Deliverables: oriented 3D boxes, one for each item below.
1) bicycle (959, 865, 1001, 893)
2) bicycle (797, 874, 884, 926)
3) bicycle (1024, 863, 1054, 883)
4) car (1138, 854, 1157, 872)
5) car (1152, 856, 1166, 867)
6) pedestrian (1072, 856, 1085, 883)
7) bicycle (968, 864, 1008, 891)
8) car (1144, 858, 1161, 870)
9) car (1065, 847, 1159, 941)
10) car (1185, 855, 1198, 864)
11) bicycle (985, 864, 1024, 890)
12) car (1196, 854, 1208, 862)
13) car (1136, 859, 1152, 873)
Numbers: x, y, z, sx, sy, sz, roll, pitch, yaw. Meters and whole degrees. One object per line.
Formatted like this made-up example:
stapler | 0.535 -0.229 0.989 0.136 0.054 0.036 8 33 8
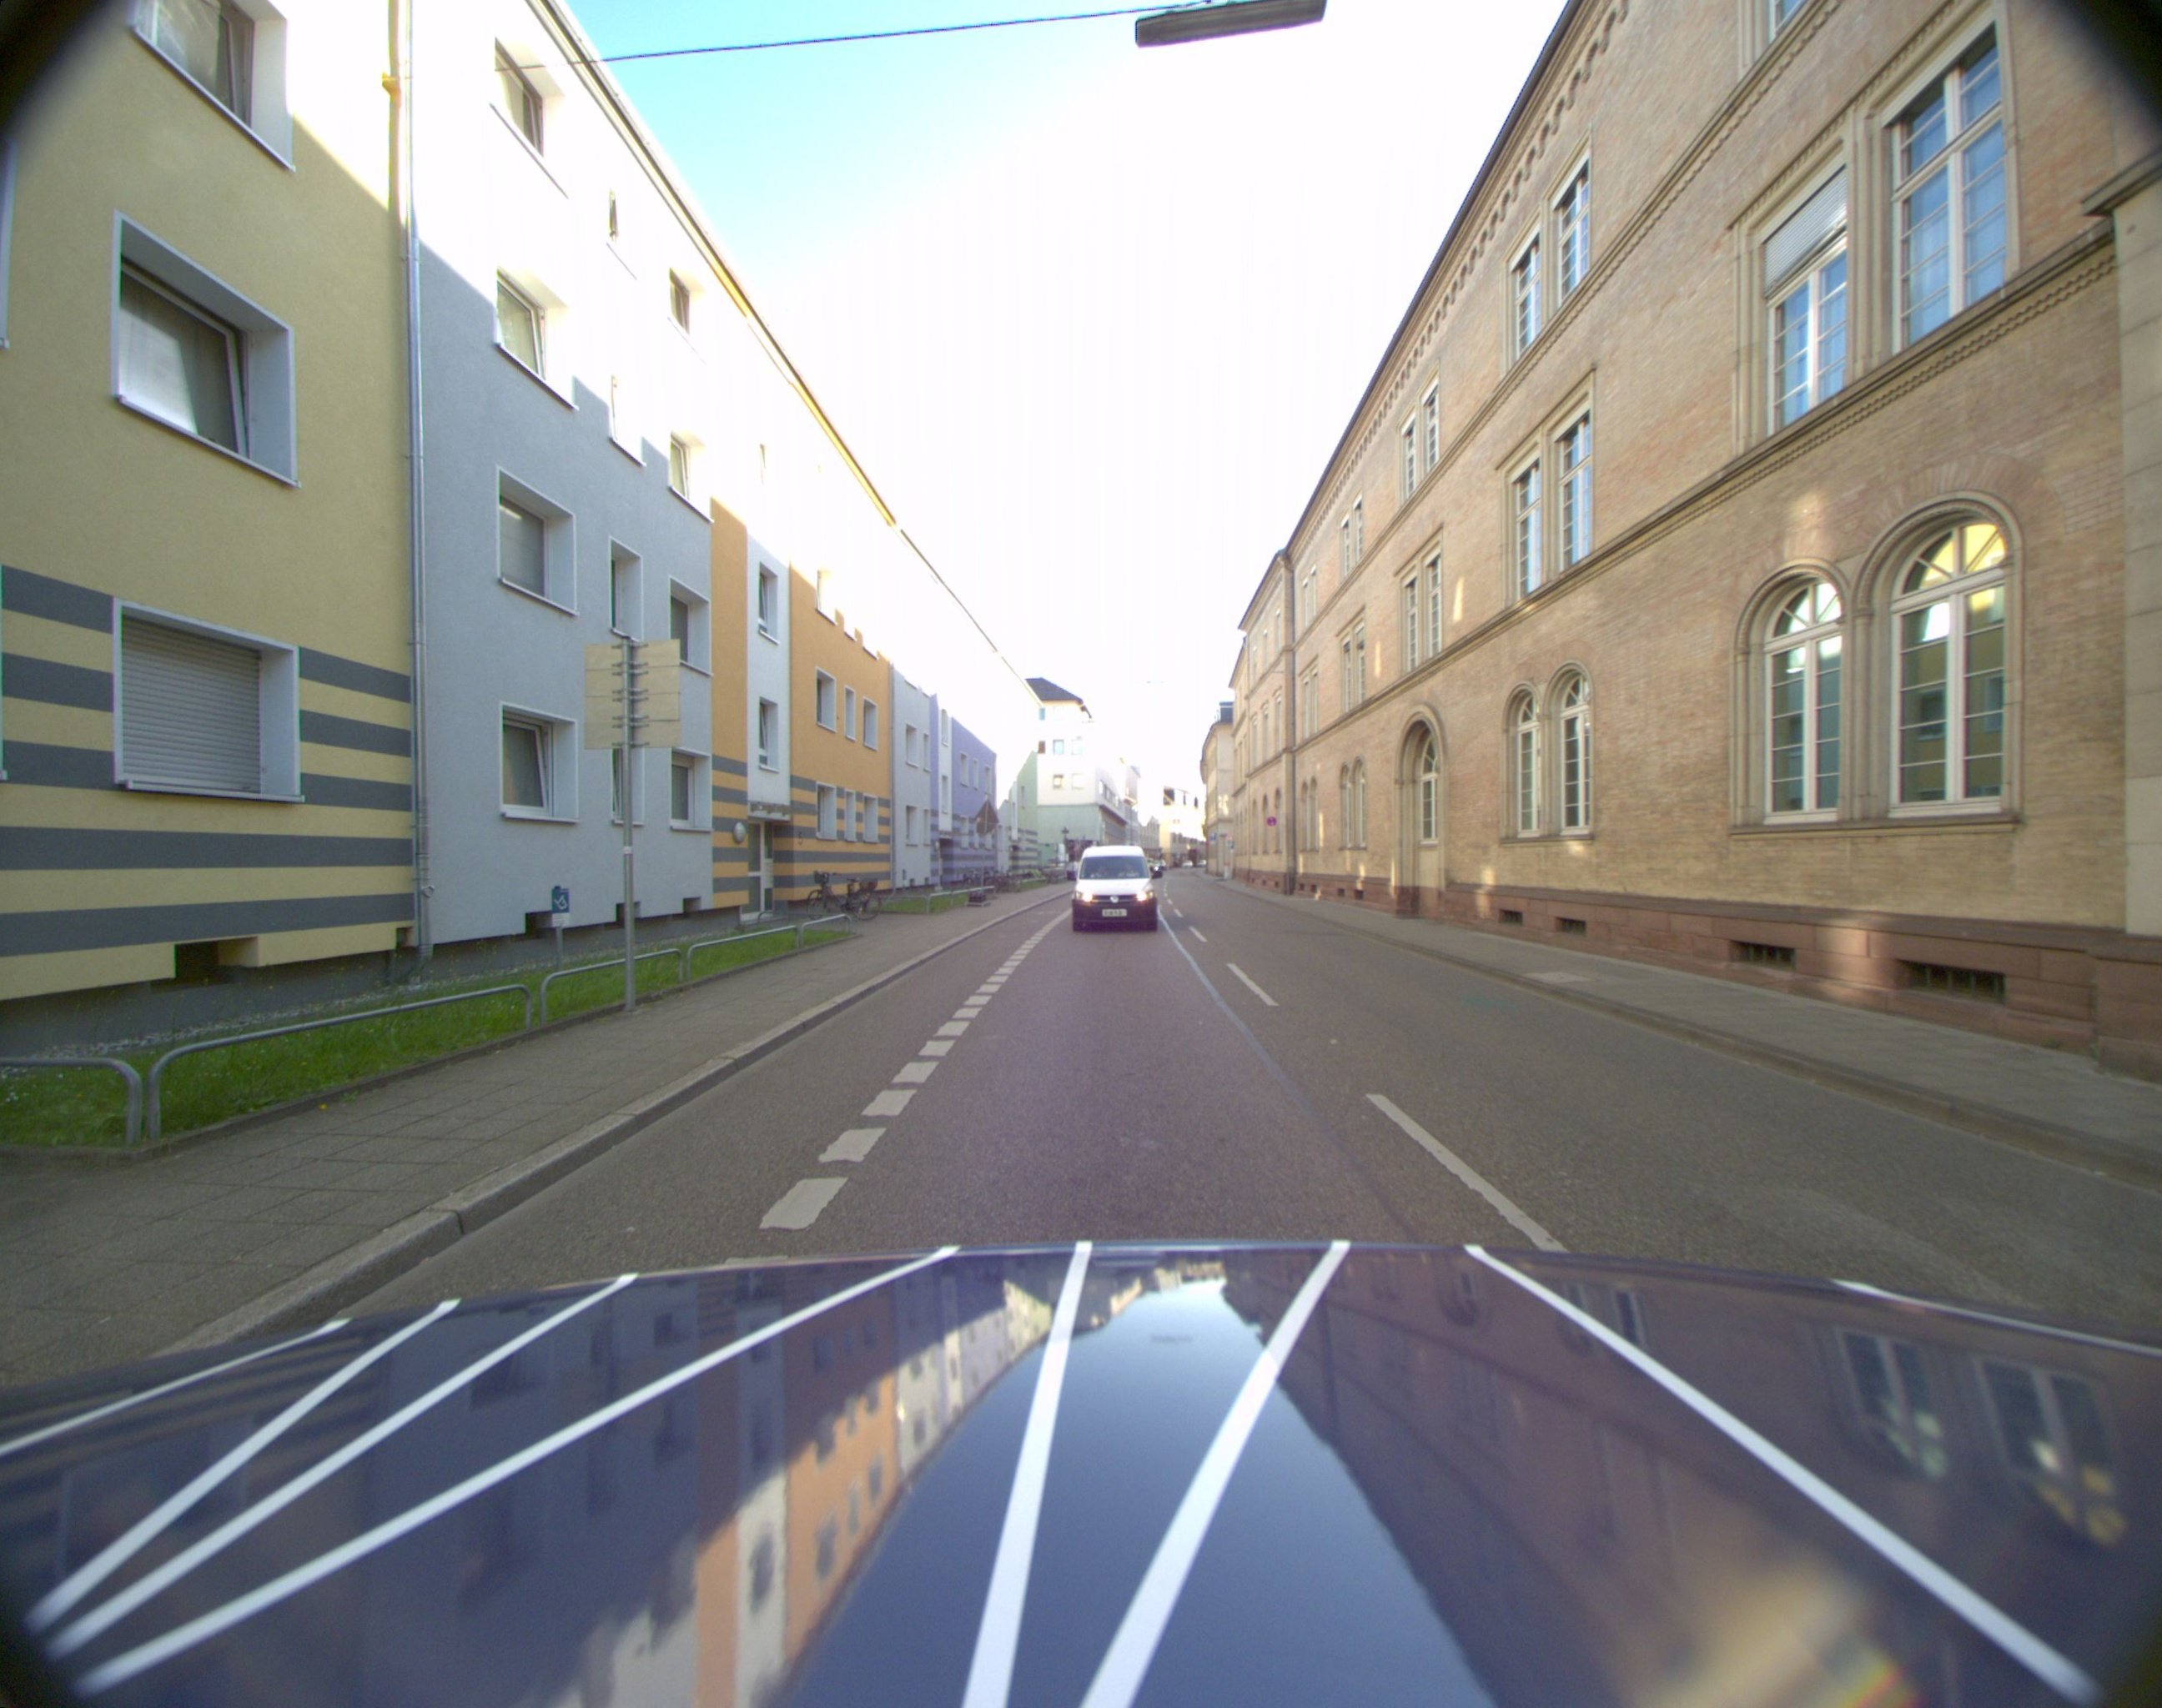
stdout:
bicycle | -4.243 1.050 31.835 1.676 1.145 0.484 0 0 4
bicycle | -5.391 1.016 17.098 1.780 1.116 0.484 0 0 -5
bicycle | -2.524 1.157 46.045 1.779 1.145 0.484 0 0 0
car | 9.401 1.252 107.084 2.103 2.263 5.506 -2 1 11
car | 12.634 1.202 122.695 1.997 1.643 4.231 -2 1 9
pedestrian | -0.139 0.985 47.633 0.705 1.627 0.833 2 2 5
bicycle | -4.038 1.023 33.128 1.676 1.145 0.484 0 0 4
car | 10.664 1.444 112.996 1.997 1.643 4.231 -2 1 10
car | 0.695 0.742 17.147 1.769 1.761 5.331 -1 1 2
car | 22.093 1.099 152.018 1.996 1.643 4.233 -2 1 17
bicycle | -3.379 1.007 33.674 1.676 1.145 0.484 0 0 4
car | 26.075 0.816 163.749 1.996 1.643 4.233 -2 1 17
car | 8.366 1.609 100.948 1.998 1.643 4.230 -2 1 6
